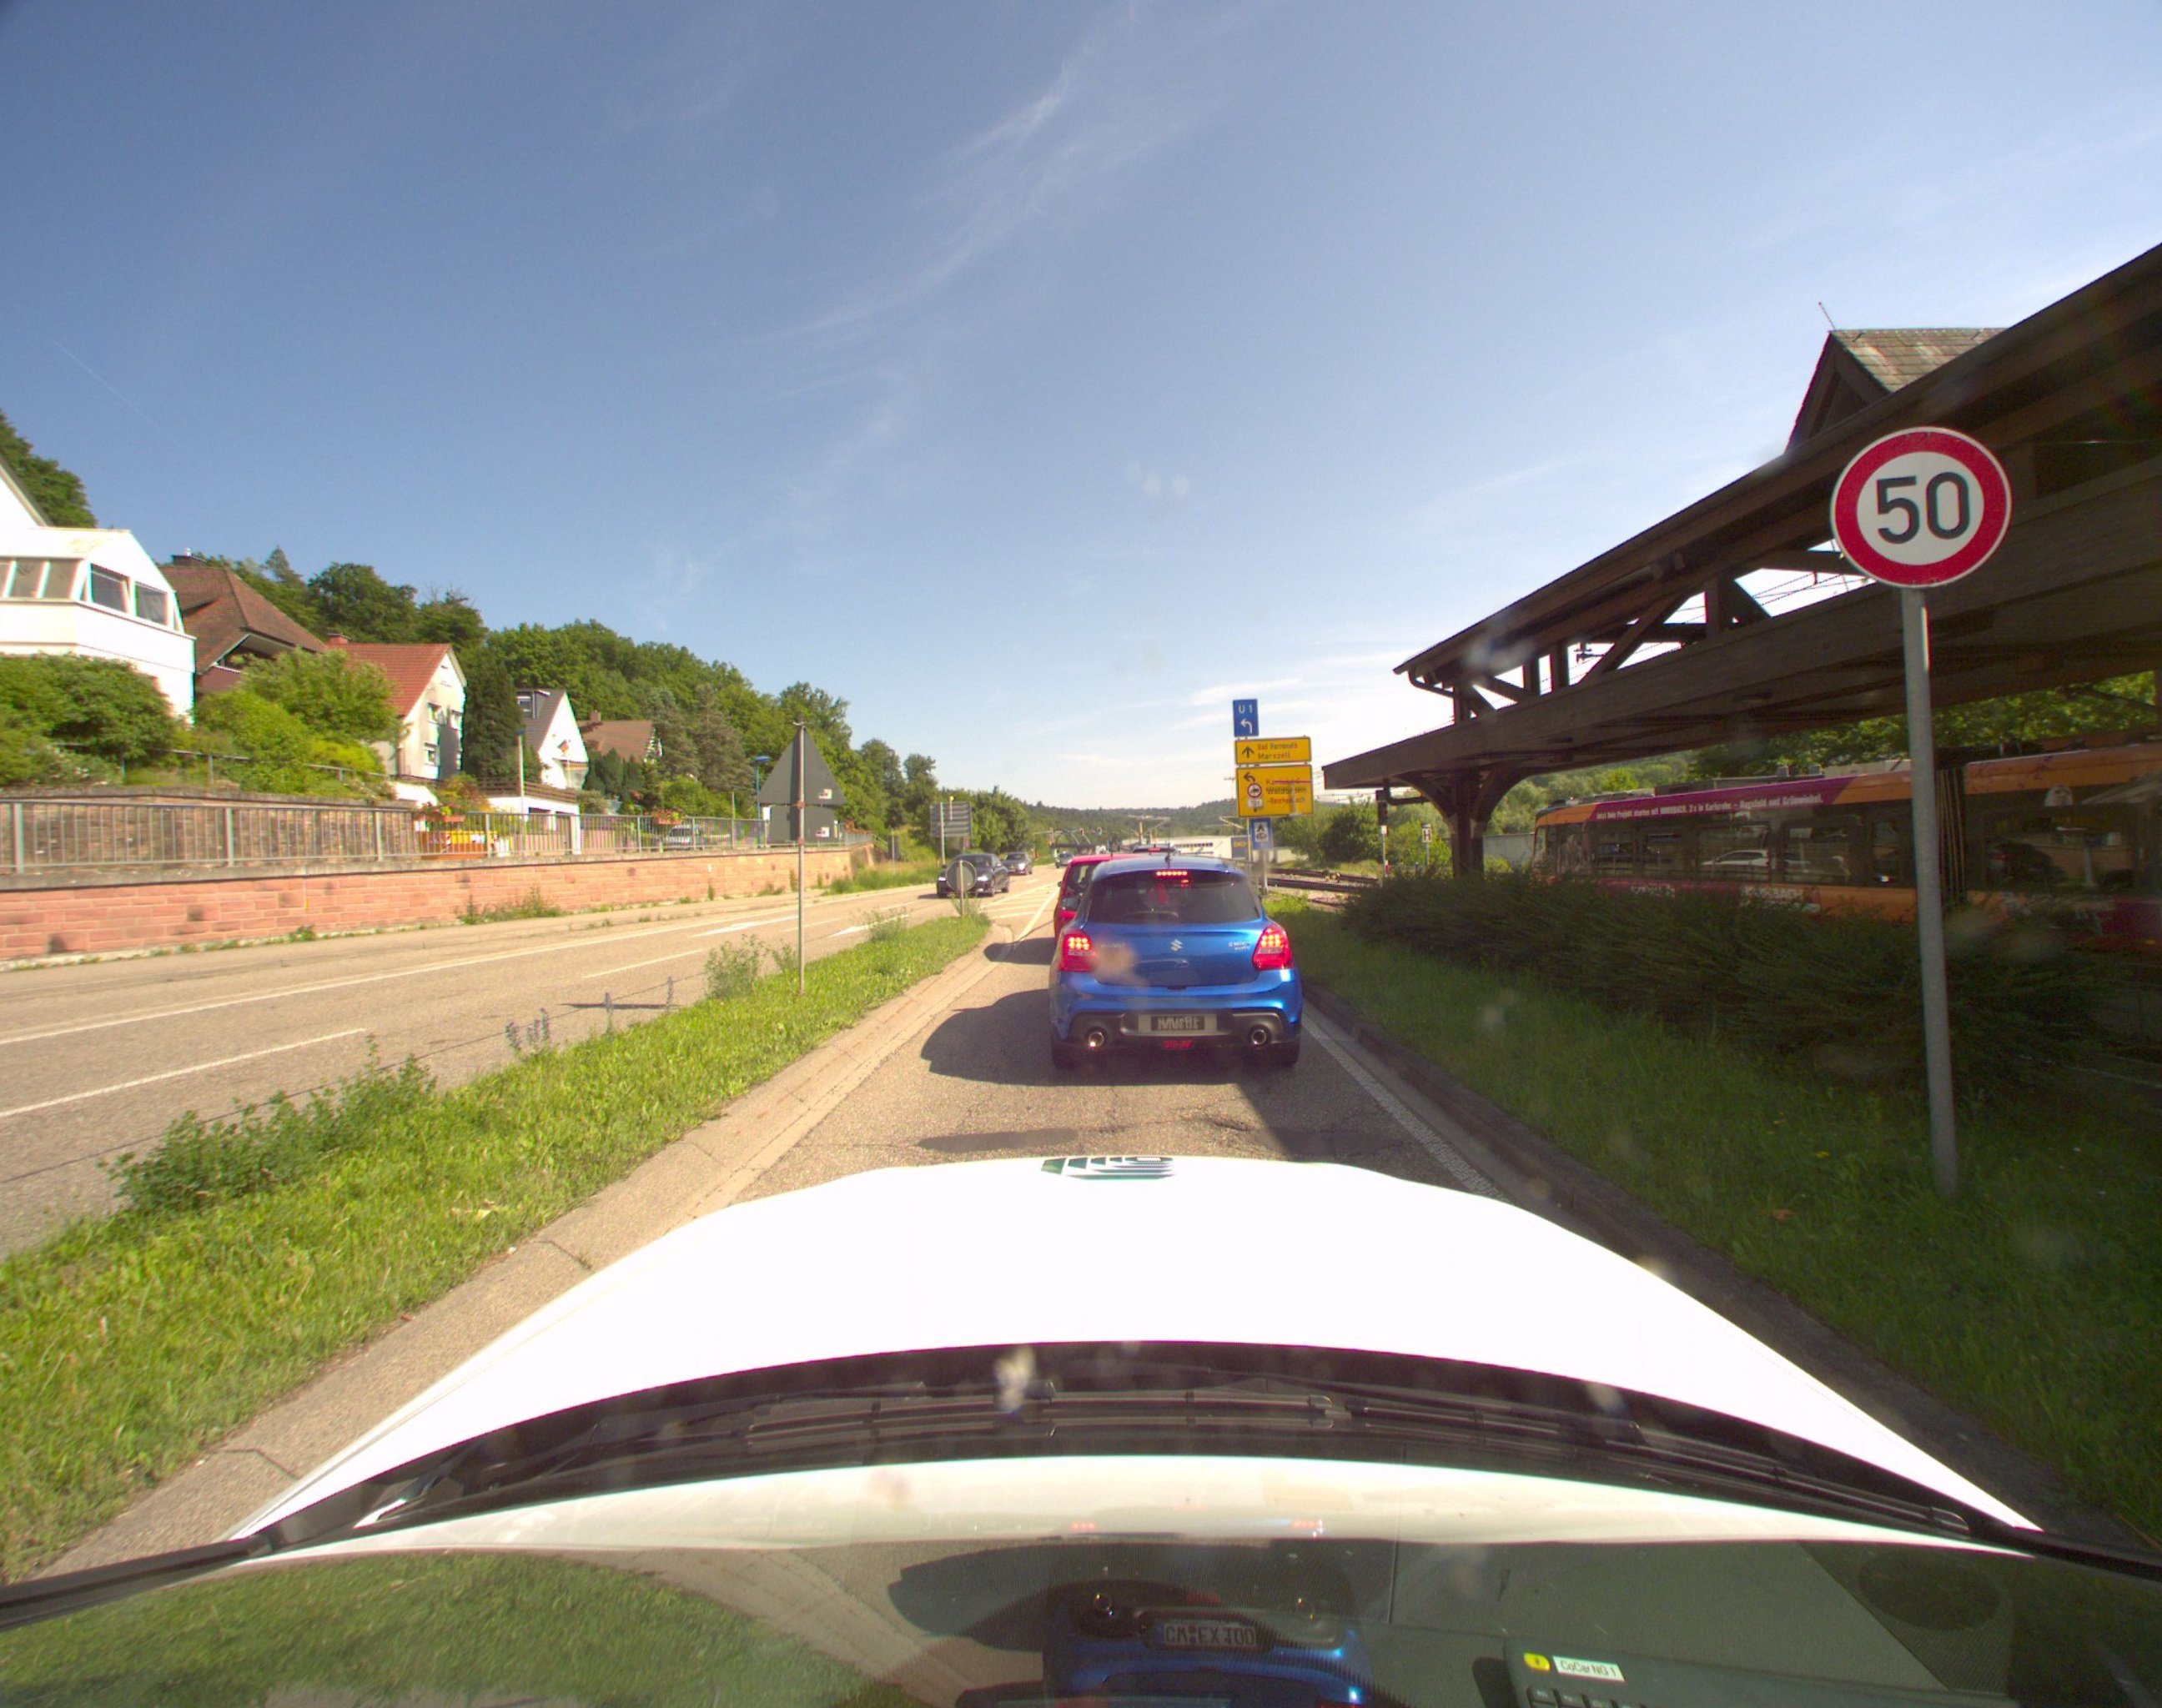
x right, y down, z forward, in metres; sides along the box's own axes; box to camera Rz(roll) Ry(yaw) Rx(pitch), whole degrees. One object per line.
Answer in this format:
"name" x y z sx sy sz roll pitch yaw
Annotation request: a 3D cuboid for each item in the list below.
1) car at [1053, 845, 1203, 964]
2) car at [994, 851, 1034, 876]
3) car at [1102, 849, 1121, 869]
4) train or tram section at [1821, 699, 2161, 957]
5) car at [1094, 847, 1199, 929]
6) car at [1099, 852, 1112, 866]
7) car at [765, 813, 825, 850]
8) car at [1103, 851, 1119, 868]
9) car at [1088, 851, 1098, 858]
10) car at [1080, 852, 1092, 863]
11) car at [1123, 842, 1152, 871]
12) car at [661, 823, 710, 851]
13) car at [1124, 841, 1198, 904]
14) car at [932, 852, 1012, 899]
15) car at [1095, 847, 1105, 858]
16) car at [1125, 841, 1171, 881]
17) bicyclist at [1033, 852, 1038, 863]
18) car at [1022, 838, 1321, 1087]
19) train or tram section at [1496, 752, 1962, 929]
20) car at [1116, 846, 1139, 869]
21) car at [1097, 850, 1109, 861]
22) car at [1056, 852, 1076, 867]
"car" 0.740 0.667 12.818 1.985 1.571 4.004 0 0 3
"car" -4.478 0.588 55.178 1.985 1.564 4.514 -1 0 4
"car" 3.283 0.546 87.790 1.986 2.013 4.002 0 1 2
"train or tram section" 15.485 -0.338 9.502 2.777 3.364 12.045 0 0 0
"car" 1.408 0.635 18.074 1.985 1.531 4.606 -2 0 3
"car" 3.662 0.777 121.886 1.986 2.013 4.002 0 1 2
"car" -16.108 -1.261 46.113 2.017 1.920 4.724 0 1 -5
"car" 3.809 0.643 102.852 1.986 2.013 4.002 0 1 2
"car" 2.708 0.019 182.897 1.986 1.554 4.217 0 0 2
"car" 0.851 0.560 140.243 1.986 1.783 4.002 0 0 2
"car" 4.092 0.143 59.294 1.986 2.013 4.002 0 1 2
"car" -24.467 -0.997 50.486 1.898 1.629 3.981 -1 0 -14
"car" 2.287 0.474 24.142 1.985 1.686 4.501 0 0 3
"car" -3.739 0.704 28.774 1.783 1.470 4.722 -1 0 5
"car" 3.702 -0.341 156.473 1.986 2.144 4.722 0 0 2
"car" 3.086 0.284 38.090 1.985 1.736 4.004 0 0 3
"bicyclist" -5.892 0.450 106.526 0.627 1.507 0.506 0 1 -2
"car" 0.613 0.675 7.146 1.862 1.548 4.001 -1 0 1
"train or tram section" 15.487 -0.320 21.625 2.747 3.364 12.045 0 1 0
"car" 4.333 0.304 75.931 1.986 2.013 4.002 0 1 2
"car" 3.744 0.193 140.514 1.986 1.816 4.002 0 1 2
"car" -1.426 0.516 79.328 1.665 1.441 3.843 -1 0 3
